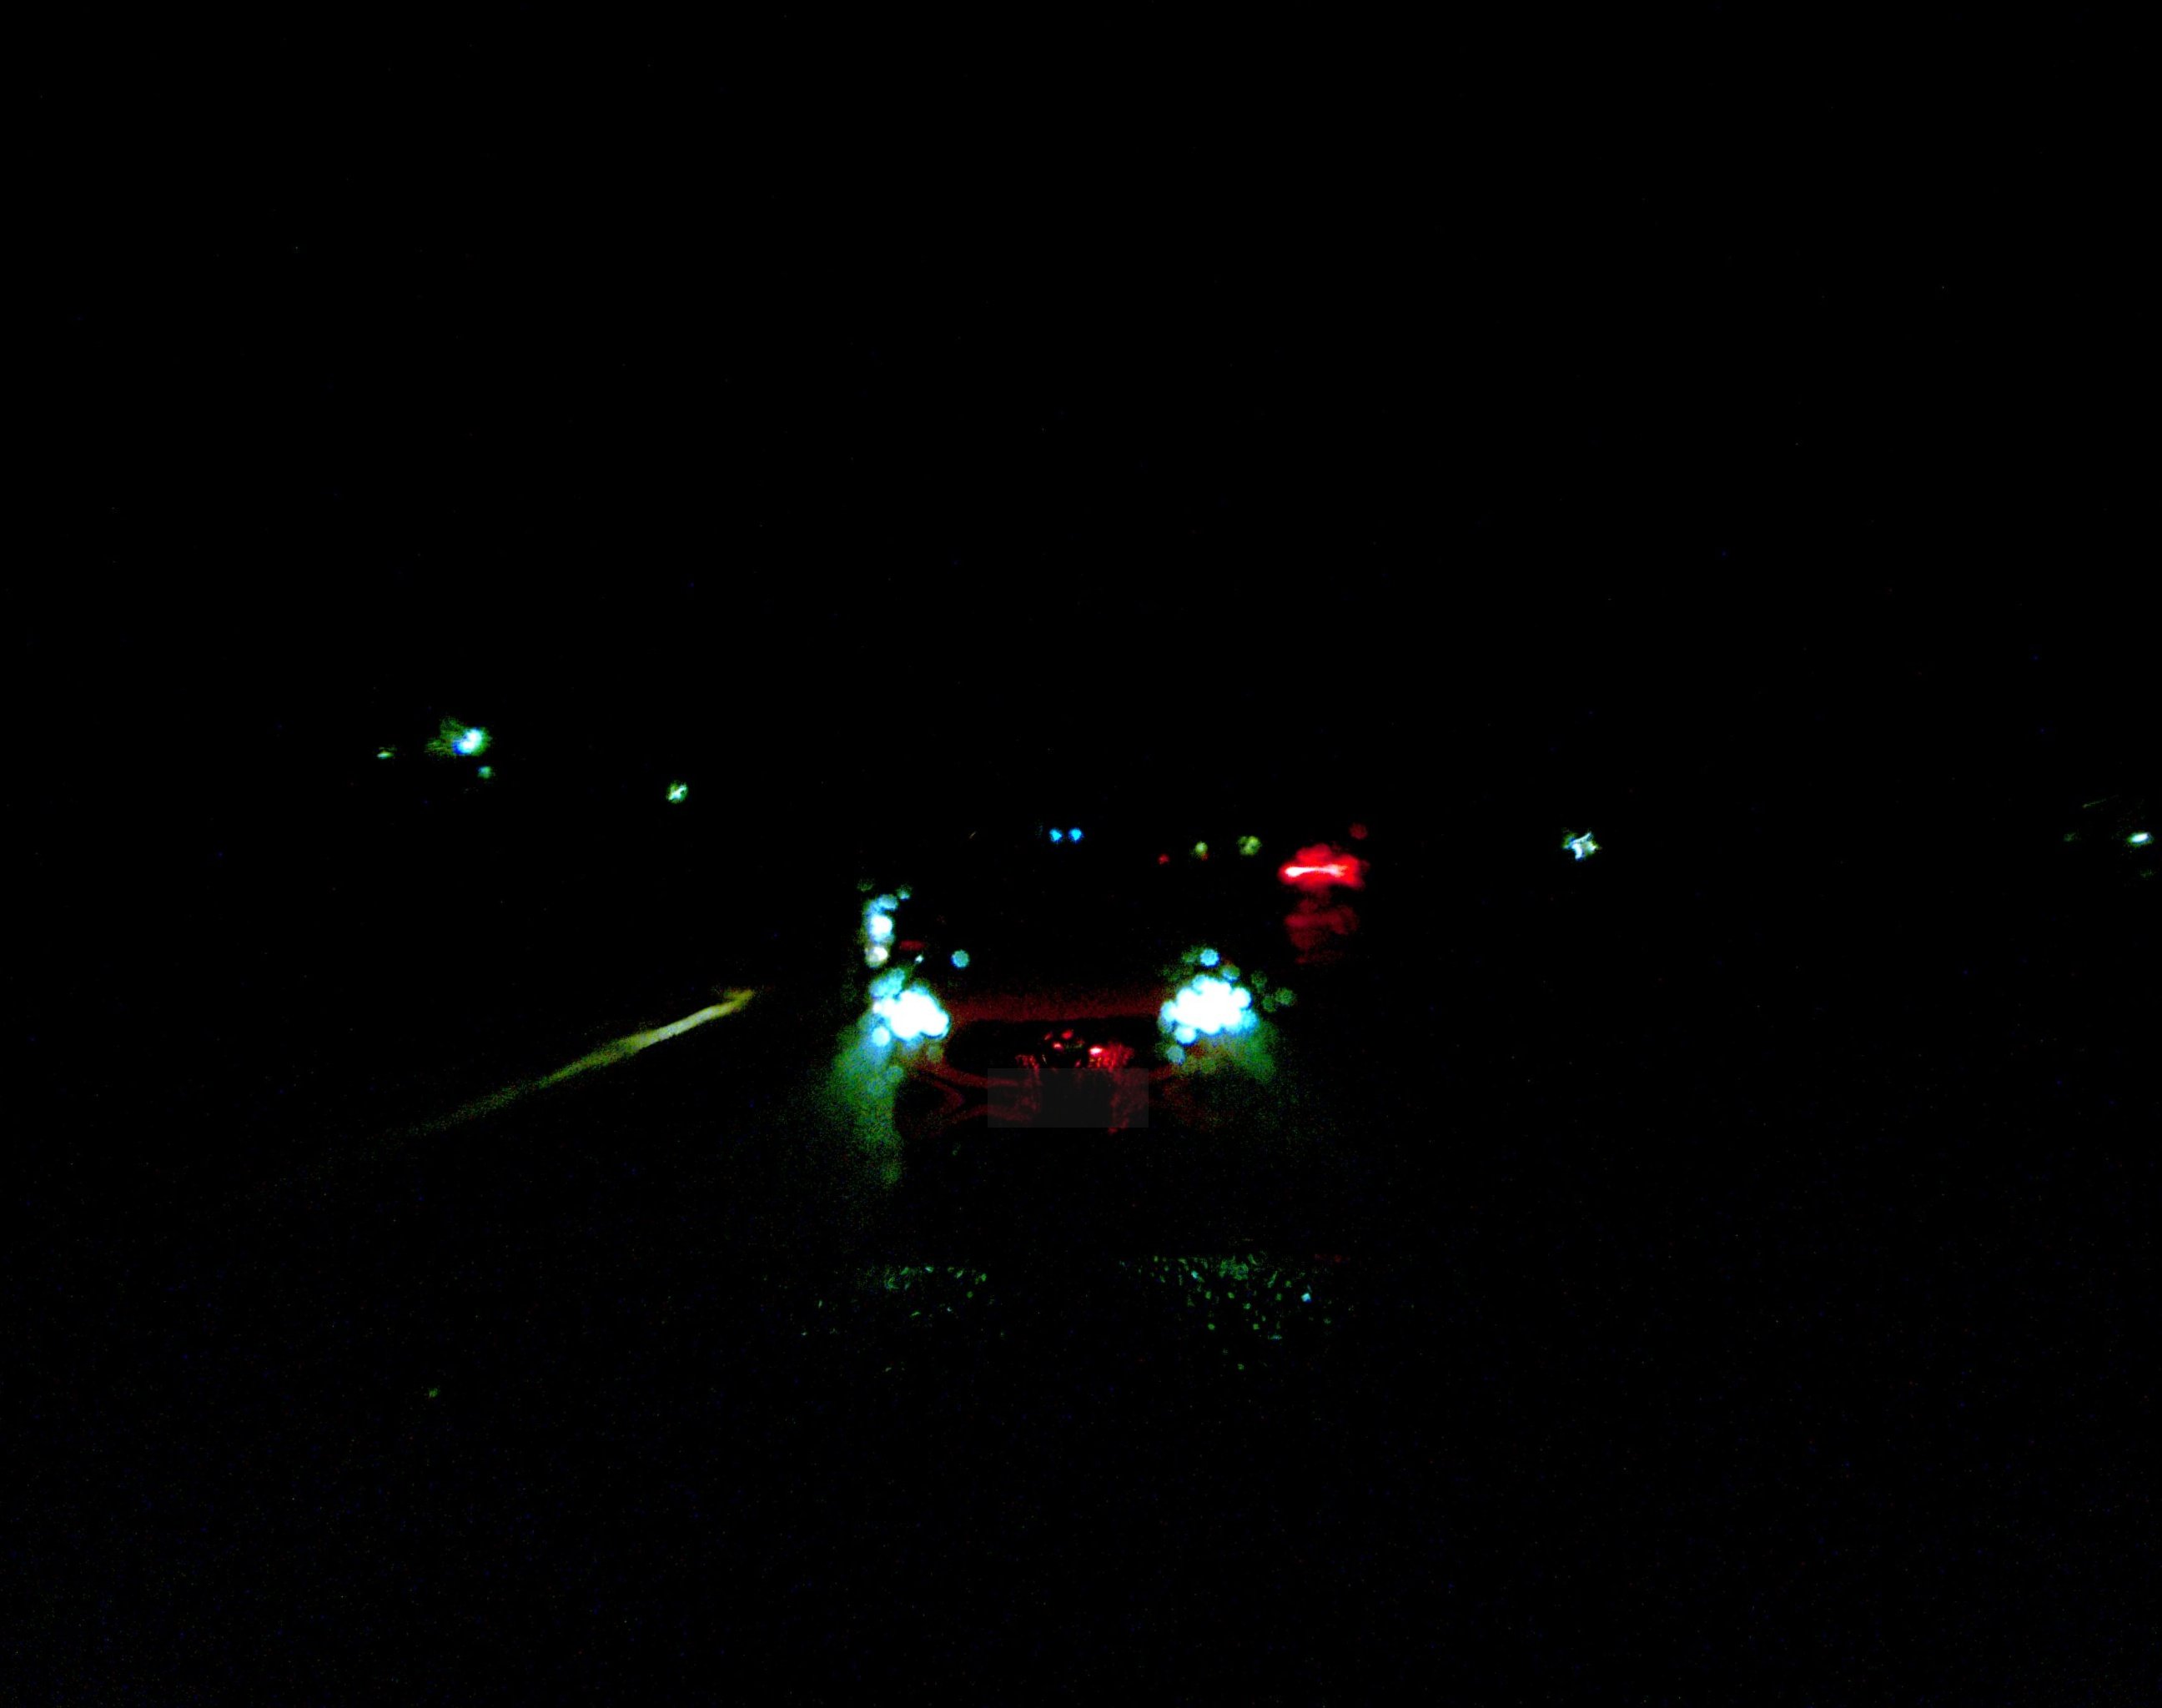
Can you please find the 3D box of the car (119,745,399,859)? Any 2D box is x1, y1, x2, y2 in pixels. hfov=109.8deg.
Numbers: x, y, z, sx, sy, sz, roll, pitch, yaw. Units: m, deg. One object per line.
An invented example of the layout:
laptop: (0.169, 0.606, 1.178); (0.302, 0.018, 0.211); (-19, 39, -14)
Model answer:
car: (-16.406, -0.947, 15.540); (2.001, 2.002, 3.994); (-3, 1, -16)

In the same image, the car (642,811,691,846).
car: (-25.039, -1.510, 46.062); (1.735, 2.002, 3.696); (-3, 1, -16)

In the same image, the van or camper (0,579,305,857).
van or camper: (-12.764, -1.401, 9.059); (2.417, 2.777, 5.763); (-3, 1, -18)

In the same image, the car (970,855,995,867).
car: (-18.133, 1.302, 139.881); (3.991, 2.002, 2.002); (-2, 1, 20)

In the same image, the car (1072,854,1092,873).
car: (0.107, 1.080, 87.824); (1.999, 2.002, 3.998); (-2, 1, -4)

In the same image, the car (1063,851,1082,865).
car: (-1.093, 0.478, 99.637); (2.000, 1.687, 3.997); (-2, 1, -7)

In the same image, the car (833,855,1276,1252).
car: (-0.080, 0.864, 5.418); (1.826, 1.573, 4.354); (-2, 1, 1)

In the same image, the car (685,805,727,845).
car: (-27.831, -2.126, 56.498); (1.937, 2.759, 4.249); (-3, 1, -16)

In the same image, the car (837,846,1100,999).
car: (-1.352, 0.818, 11.554); (1.837, 1.725, 4.947); (-2, 1, 19)

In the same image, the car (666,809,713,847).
car: (-26.356, -1.720, 51.295); (1.937, 2.406, 4.249); (-3, 1, -16)

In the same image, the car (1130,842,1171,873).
car: (4.804, 0.211, 53.206); (2.090, 2.002, 4.711); (-2, 1, -3)

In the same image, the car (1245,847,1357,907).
car: (6.338, 0.661, 22.502); (1.893, 1.559, 4.486); (-2, -1, -1)

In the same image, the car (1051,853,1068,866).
car: (-3.580, 0.832, 124.168); (2.092, 2.002, 4.709); (-2, 1, -10)
